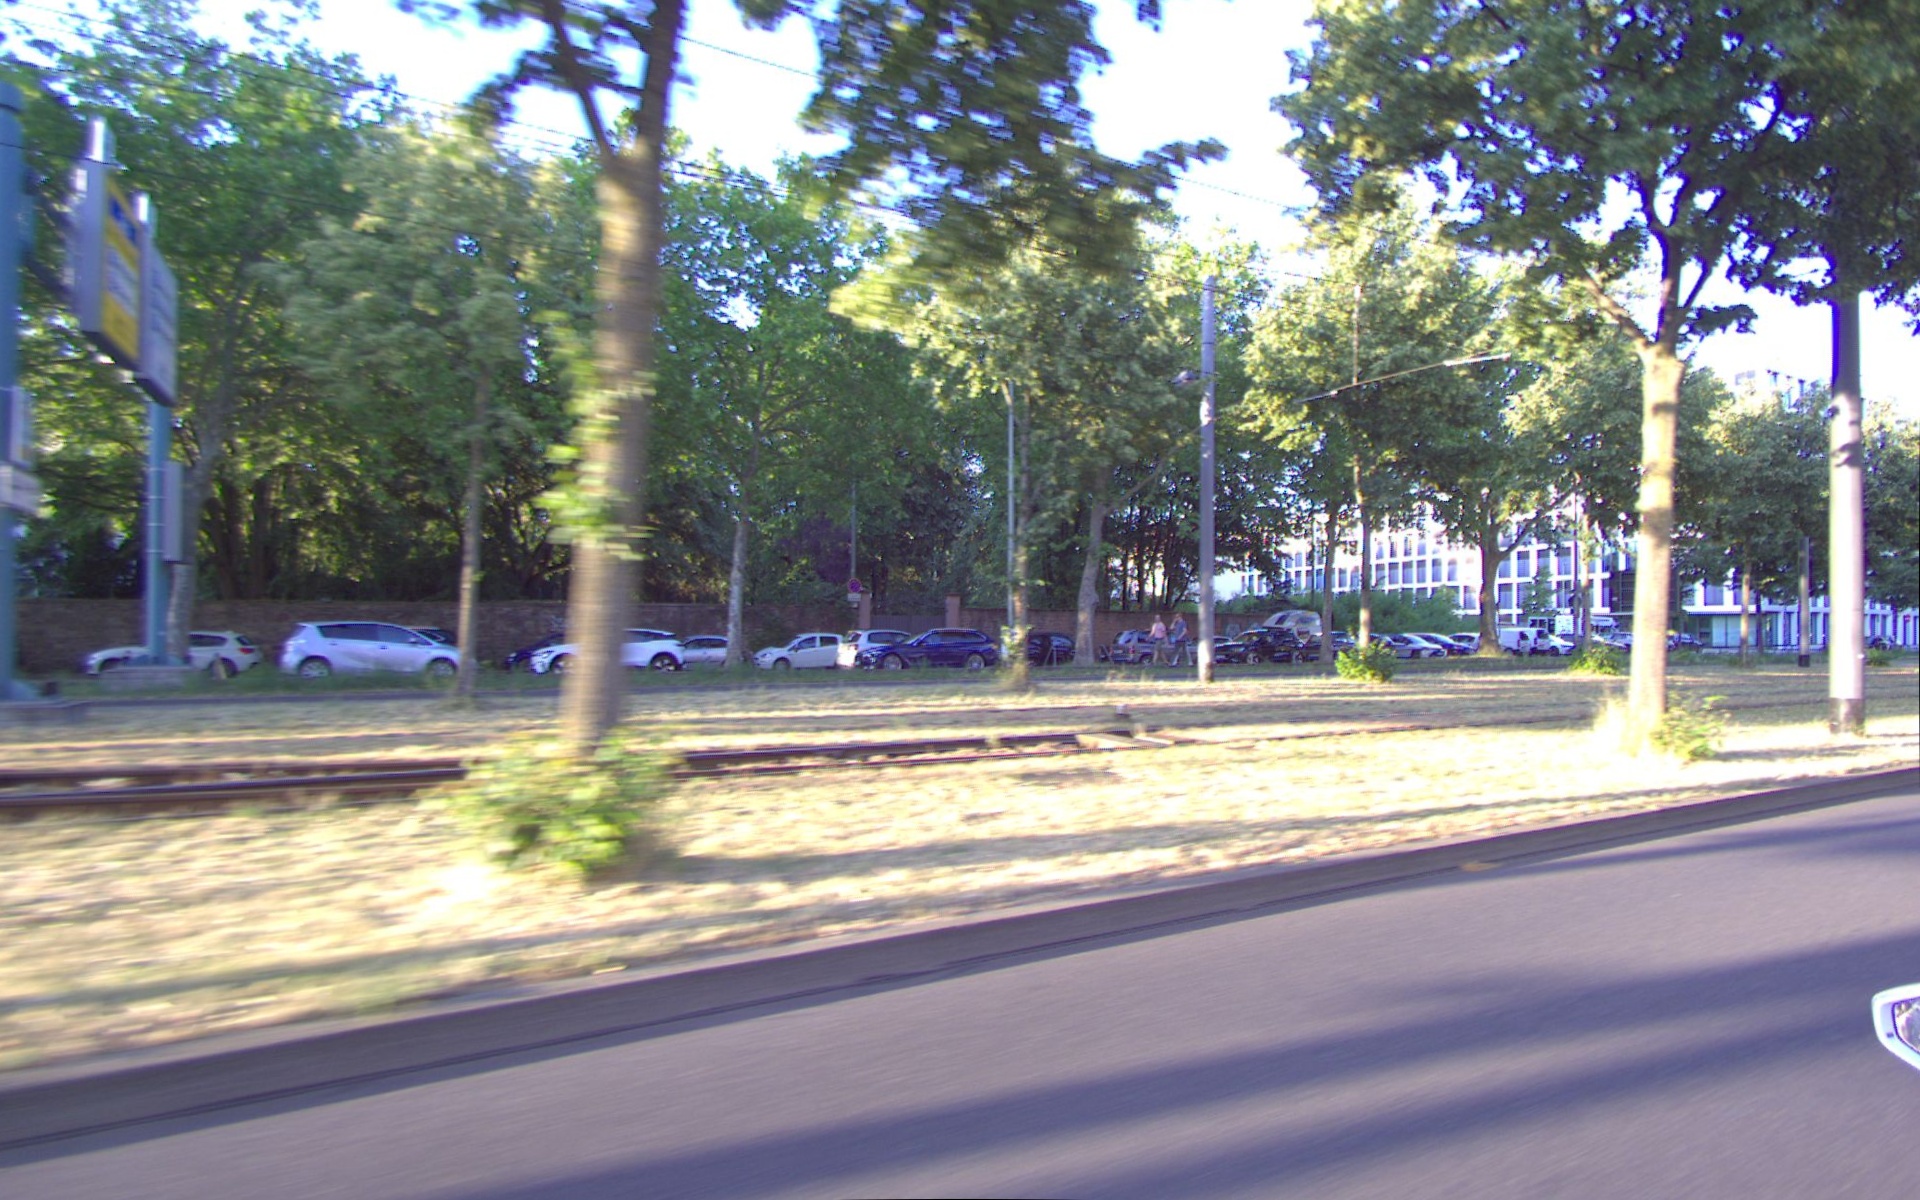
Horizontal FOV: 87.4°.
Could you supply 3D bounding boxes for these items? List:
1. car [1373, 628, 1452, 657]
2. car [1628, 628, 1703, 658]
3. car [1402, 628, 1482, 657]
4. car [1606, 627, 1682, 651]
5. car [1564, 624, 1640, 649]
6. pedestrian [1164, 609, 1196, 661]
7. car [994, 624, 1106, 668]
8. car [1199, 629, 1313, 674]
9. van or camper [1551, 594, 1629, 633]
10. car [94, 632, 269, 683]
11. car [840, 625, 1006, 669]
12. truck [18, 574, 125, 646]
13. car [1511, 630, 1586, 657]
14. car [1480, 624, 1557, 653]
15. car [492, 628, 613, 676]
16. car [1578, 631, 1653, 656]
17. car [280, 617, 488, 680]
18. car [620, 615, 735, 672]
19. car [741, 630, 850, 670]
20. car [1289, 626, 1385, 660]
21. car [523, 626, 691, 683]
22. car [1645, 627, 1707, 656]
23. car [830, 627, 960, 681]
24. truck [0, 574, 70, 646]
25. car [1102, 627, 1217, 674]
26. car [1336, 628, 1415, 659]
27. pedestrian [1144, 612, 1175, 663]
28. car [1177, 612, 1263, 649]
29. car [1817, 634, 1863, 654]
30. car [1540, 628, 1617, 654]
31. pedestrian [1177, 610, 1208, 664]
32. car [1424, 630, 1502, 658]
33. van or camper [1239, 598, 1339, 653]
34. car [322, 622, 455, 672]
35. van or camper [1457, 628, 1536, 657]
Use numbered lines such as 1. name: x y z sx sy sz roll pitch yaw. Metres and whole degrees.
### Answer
1. car: 26.653 2.479 59.242 1.898 1.661 3.971 1 -1 -28
2. car: 50.371 3.052 71.810 1.978 2.040 3.965 1 -2 -33
3. car: 28.898 2.528 60.356 1.901 1.661 3.964 1 -1 -33
4. car: 47.913 2.714 70.421 1.901 1.661 3.964 1 -1 -33
5. car: 43.913 2.465 68.779 1.901 1.661 3.964 1 -1 -33
6. pedestrian: 7.555 1.207 34.472 0.857 1.766 0.689 1 -1 -32
7. car: 3.373 1.715 37.599 3.785 1.581 1.798 1 -2 -25
8. car: 12.591 2.149 42.602 4.736 1.773 1.984 1 -2 -31
9. van or camper: 52.530 1.179 83.741 6.180 3.126 2.701 1 -1 -27
10. car: -24.242 1.755 31.479 3.997 1.511 1.854 1 -1 -27
11. car: -1.192 1.512 32.910 5.075 1.332 1.987 1 -2 -27
12. truck: -47.279 0.573 53.673 2.259 3.566 6.655 1 -1 -23
13. car: 38.928 2.848 66.505 1.895 1.661 3.979 1 -1 -23
14. car: 36.318 2.478 65.450 1.988 1.869 3.970 1 -1 -29
15. car: -14.779 1.849 36.419 3.946 1.662 1.988 1 -1 -26
16. car: 45.687 3.030 70.065 1.901 1.661 3.964 1 -1 -33
17. car: -14.810 1.234 26.076 4.502 1.518 1.985 1 -2 -30
18. car: -10.673 1.621 37.899 3.944 2.040 1.989 1 -1 -24
19. car: -6.580 1.959 40.029 3.943 1.505 1.989 1 -1 -23
20. car: 17.161 1.938 45.742 3.949 1.505 1.986 1 -2 -27
21. car: -10.046 1.508 28.620 4.255 1.519 1.891 1 -2 -30
22. car: 53.494 3.078 75.029 4.875 2.040 1.984 1 -2 -31
23. car: -2.284 1.867 35.254 4.104 1.773 1.988 1 -2 -25
24. truck: -49.605 0.555 52.772 2.259 3.566 6.655 1 -1 -23
25. car: 7.877 1.969 39.582 4.104 1.773 1.988 1 -2 -25
26. car: 23.877 2.478 57.846 1.898 1.661 3.972 1 -1 -27
27. pedestrian: 7.096 1.336 35.663 0.858 1.782 0.688 1 -2 -38
28. car: 13.101 1.546 50.574 3.954 1.773 1.984 1 -2 -31
29. car: 74.081 3.679 84.551 3.450 1.602 1.852 1 -1 -29
30. car: 41.434 2.705 67.355 1.901 1.661 3.964 1 -1 -33
31. pedestrian: 8.180 1.294 35.391 0.858 1.895 0.688 1 -2 -38
32. car: 31.176 2.688 62.389 1.901 1.661 3.964 1 -1 -33
33. van or camper: 17.526 1.371 53.423 5.434 2.771 2.074 1 -2 -32
34. car: -19.204 1.557 33.945 3.789 1.617 1.759 1 -1 -27
35. van or camper: 33.948 2.661 63.614 1.984 1.815 3.954 1 -2 -40
